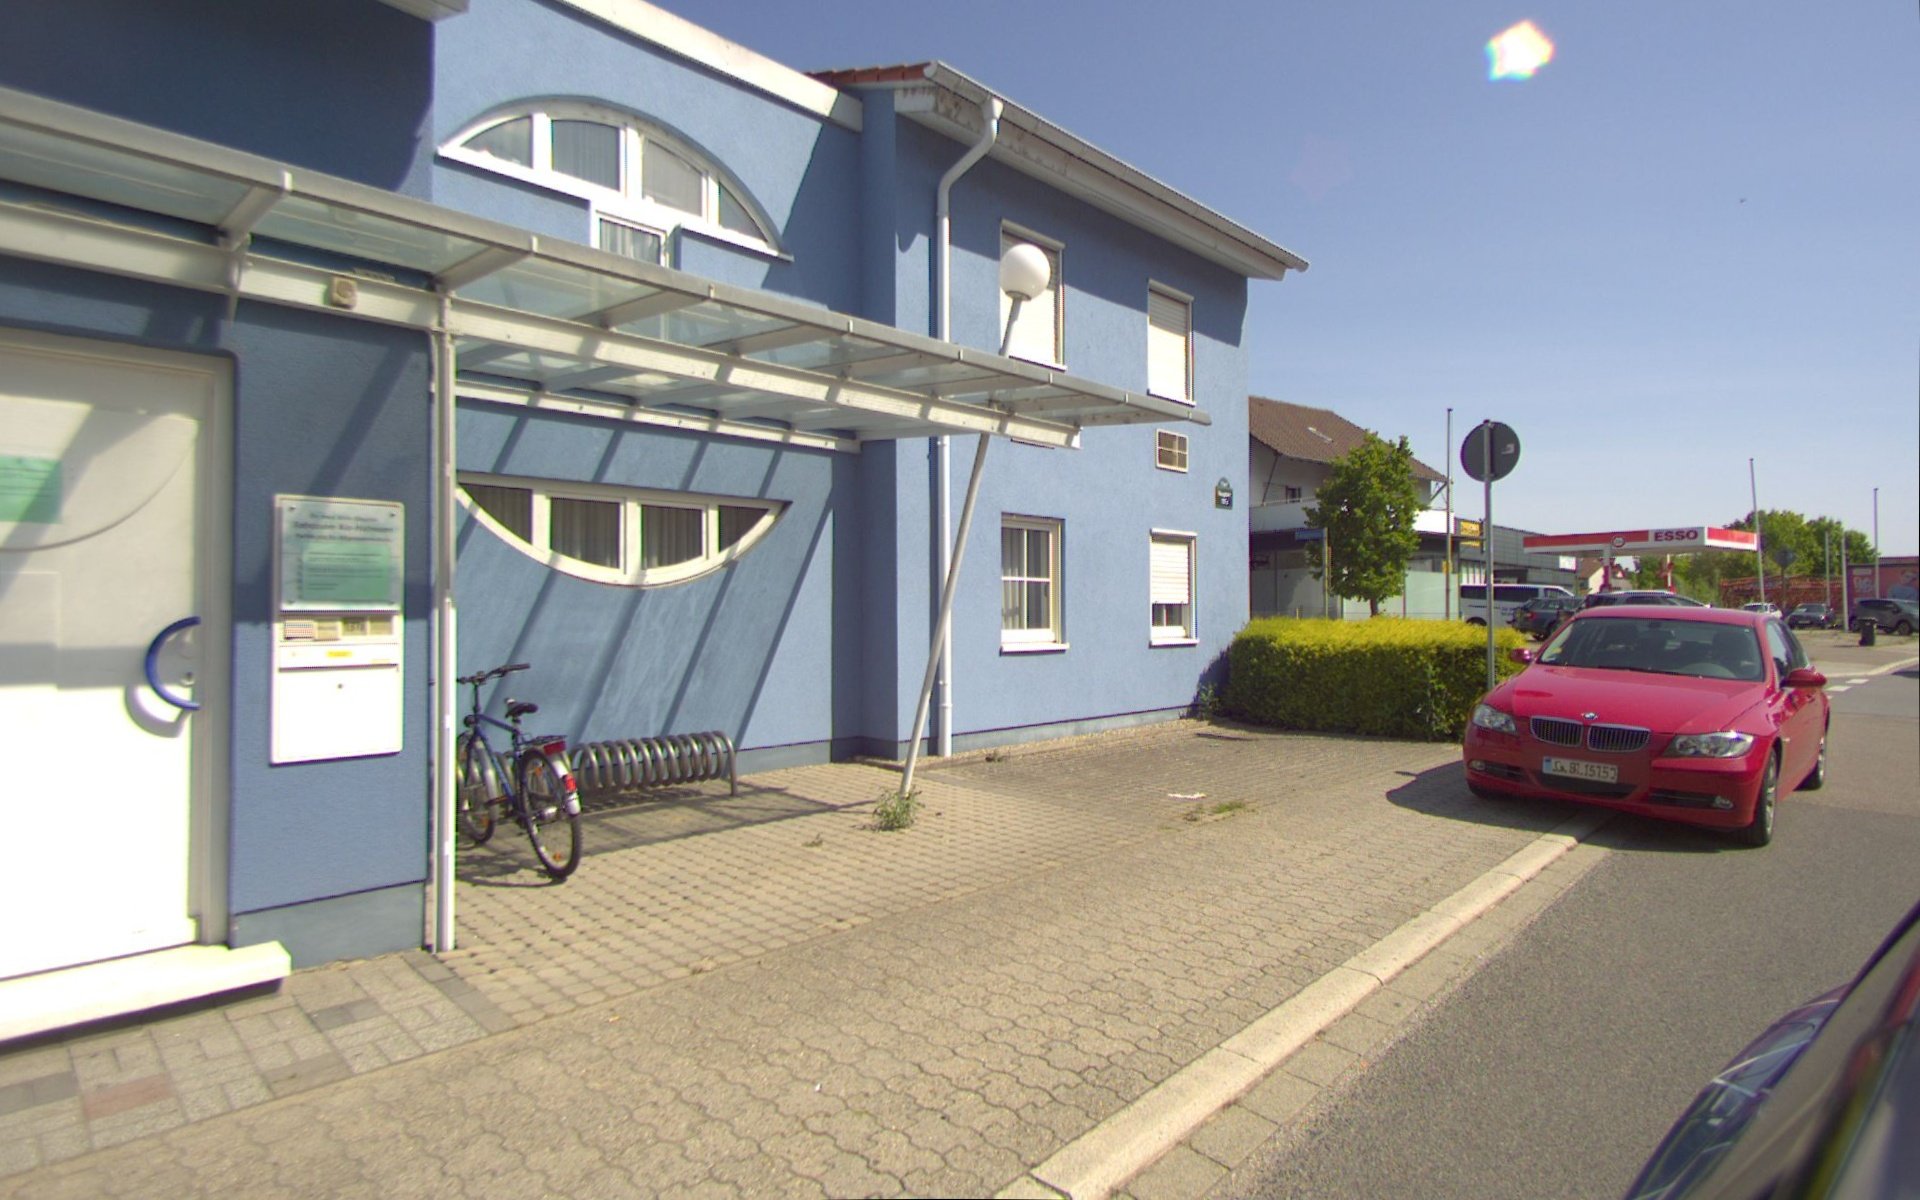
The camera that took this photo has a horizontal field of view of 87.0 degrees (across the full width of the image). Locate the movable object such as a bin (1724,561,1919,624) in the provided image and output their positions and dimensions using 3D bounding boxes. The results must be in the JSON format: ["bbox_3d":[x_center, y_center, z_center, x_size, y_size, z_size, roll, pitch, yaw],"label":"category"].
[{"bbox_3d":[61.436,-0.459,67.949,2.721,4.069,16.099,1,0,-36],"label":"movable object such as a bin"}]

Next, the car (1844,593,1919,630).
[{"bbox_3d":[41.972,0.491,44.997,1.742,1.575,4.179,0,0,3],"label":"car"}]

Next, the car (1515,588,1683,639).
[{"bbox_3d":[20.766,0.399,33.091,4.260,1.570,1.973,0,0,18],"label":"car"}]

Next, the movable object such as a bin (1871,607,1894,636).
[{"bbox_3d":[30.423,0.714,33.376,0.557,0.948,0.506,0,0,44],"label":"movable object such as a bin"}]

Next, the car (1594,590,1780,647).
[{"bbox_3d":[19.938,0.475,27.953,3.829,1.465,1.738,0,0,23],"label":"car"}]

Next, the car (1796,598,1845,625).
[{"bbox_3d":[53.176,0.658,62.516,4.035,1.612,1.843,0,0,-42],"label":"car"}]

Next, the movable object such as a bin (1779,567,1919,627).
[{"bbox_3d":[67.918,-0.239,73.139,2.809,4.218,13.292,1,0,-36],"label":"movable object such as a bin"}]

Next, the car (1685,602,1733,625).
[{"bbox_3d":[49.429,0.865,66.748,3.931,1.404,1.843,0,0,-42],"label":"car"}]

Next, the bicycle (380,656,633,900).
[{"bbox_3d":[-2.554,0.865,5.564,0.646,0.993,1.956,1,0,-44],"label":"bicycle"}]

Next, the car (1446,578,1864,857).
[{"bbox_3d":[5.444,0.606,7.685,4.282,1.513,1.734,-1,2,-43],"label":"car"}]

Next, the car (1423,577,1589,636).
[{"bbox_3d":[20.012,0.204,37.302,5.238,2.039,2.209,0,0,29],"label":"car"}]

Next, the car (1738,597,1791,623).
[{"bbox_3d":[51.478,0.627,64.698,4.264,1.612,2.001,0,0,-42],"label":"car"}]

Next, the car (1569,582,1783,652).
[{"bbox_3d":[18.111,0.392,25.810,4.058,1.674,1.821,0,0,18],"label":"car"}]
